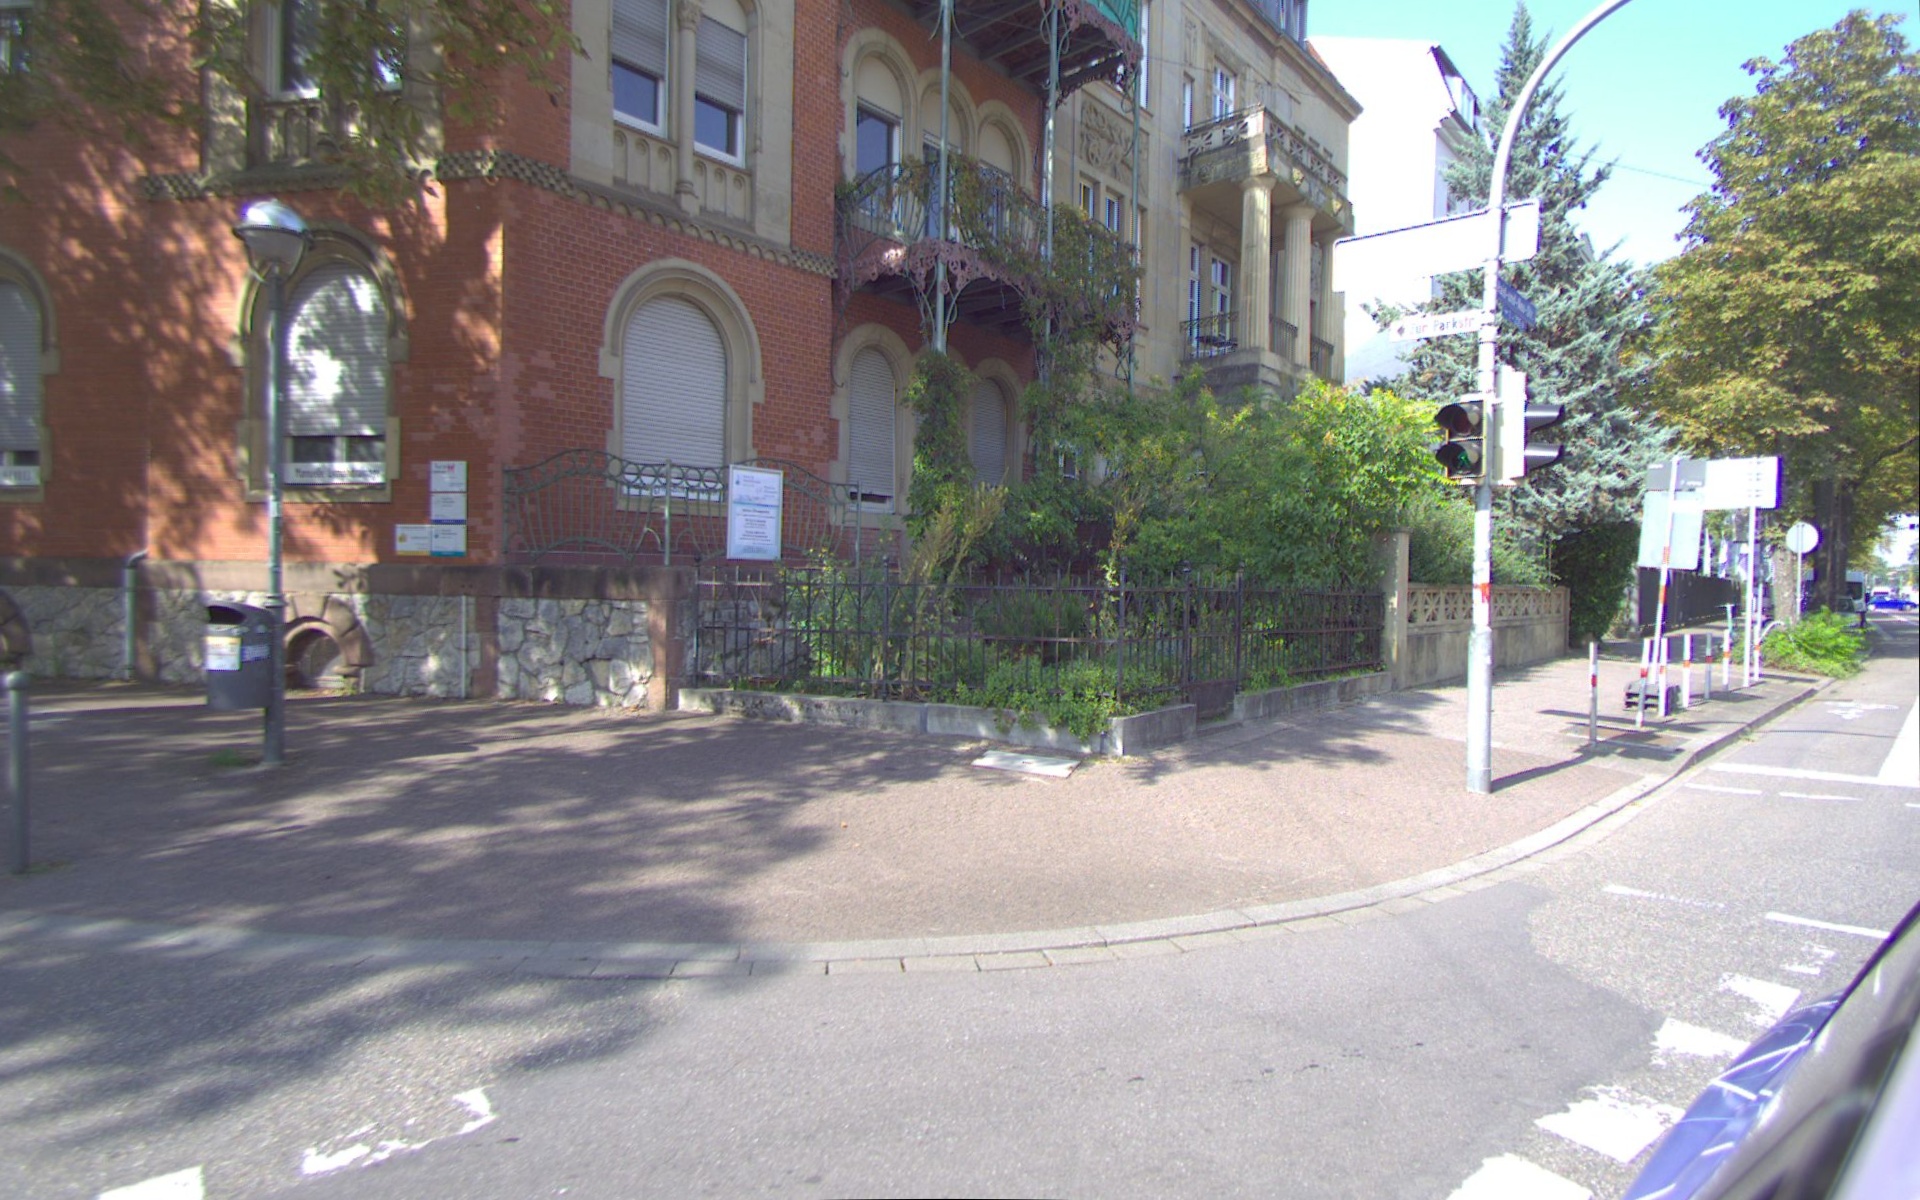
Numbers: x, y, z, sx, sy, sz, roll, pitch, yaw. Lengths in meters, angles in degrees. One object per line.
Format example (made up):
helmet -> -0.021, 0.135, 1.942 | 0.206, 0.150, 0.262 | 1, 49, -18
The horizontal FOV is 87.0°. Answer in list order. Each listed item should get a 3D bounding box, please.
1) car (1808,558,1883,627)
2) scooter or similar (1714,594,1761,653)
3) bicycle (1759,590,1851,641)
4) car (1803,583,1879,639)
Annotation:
car -> 35.617, -0.326, 40.696 | 2.045, 2.529, 6.134 | 3, 2, 42
scooter or similar -> 17.041, 0.490, 22.175 | 1.017, 1.211, 0.559 | -1, 5, -43
bicycle -> 22.406, 0.405, 26.856 | 1.808, 1.179, 0.505 | 3, 7, 3
car -> 27.917, 0.296, 32.070 | 1.607, 1.542, 4.292 | 6, 5, 41
